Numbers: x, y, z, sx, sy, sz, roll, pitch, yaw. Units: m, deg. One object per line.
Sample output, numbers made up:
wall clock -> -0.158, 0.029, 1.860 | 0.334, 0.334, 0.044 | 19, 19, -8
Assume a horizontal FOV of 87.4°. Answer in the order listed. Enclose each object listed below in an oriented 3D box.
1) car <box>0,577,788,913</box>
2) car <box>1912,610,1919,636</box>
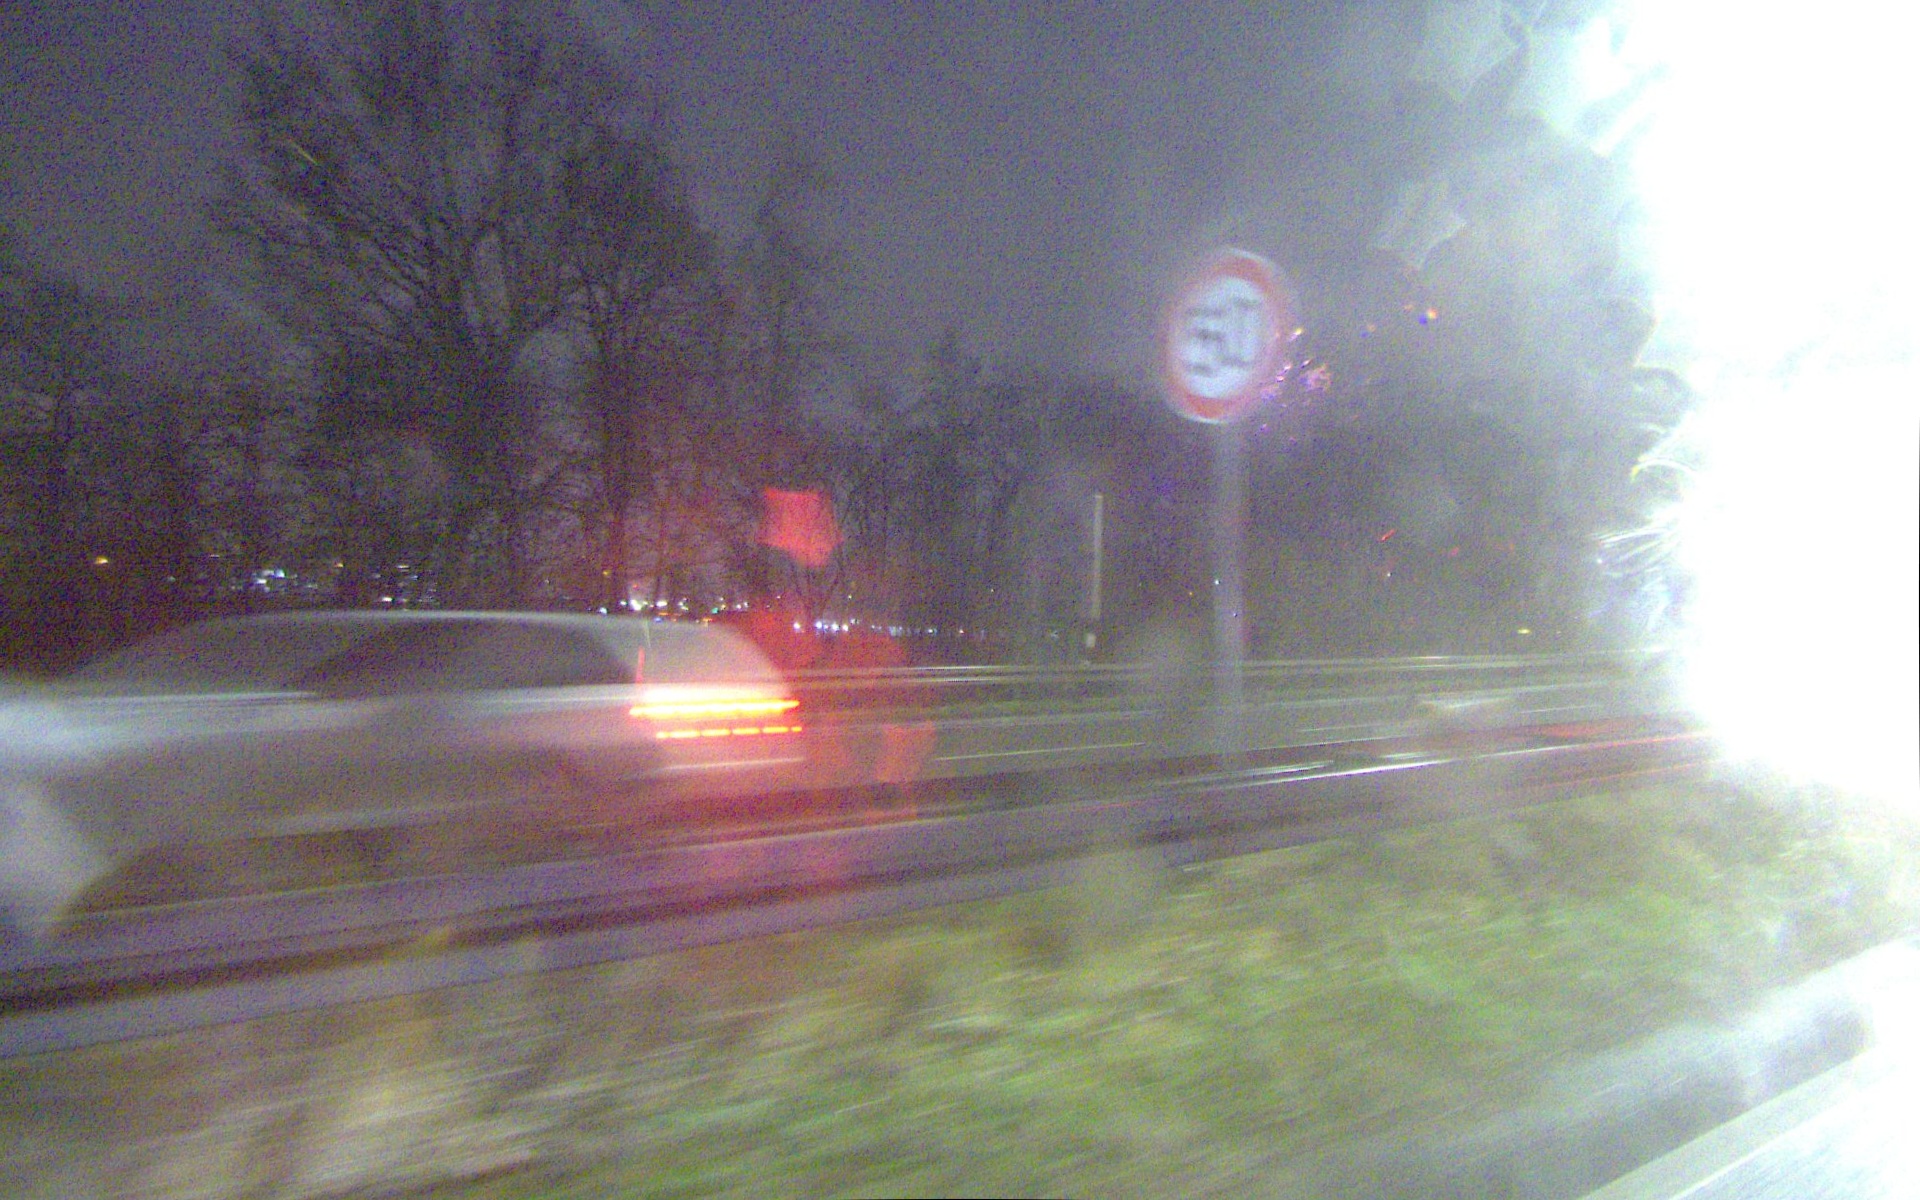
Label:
car -> -3.398, 0.688, 5.774 | 4.414, 1.412, 1.806 | 1, -4, -33
car -> 74.540, 1.776, 76.259 | 2.177, 2.040, 3.996 | 1, -1, 26
